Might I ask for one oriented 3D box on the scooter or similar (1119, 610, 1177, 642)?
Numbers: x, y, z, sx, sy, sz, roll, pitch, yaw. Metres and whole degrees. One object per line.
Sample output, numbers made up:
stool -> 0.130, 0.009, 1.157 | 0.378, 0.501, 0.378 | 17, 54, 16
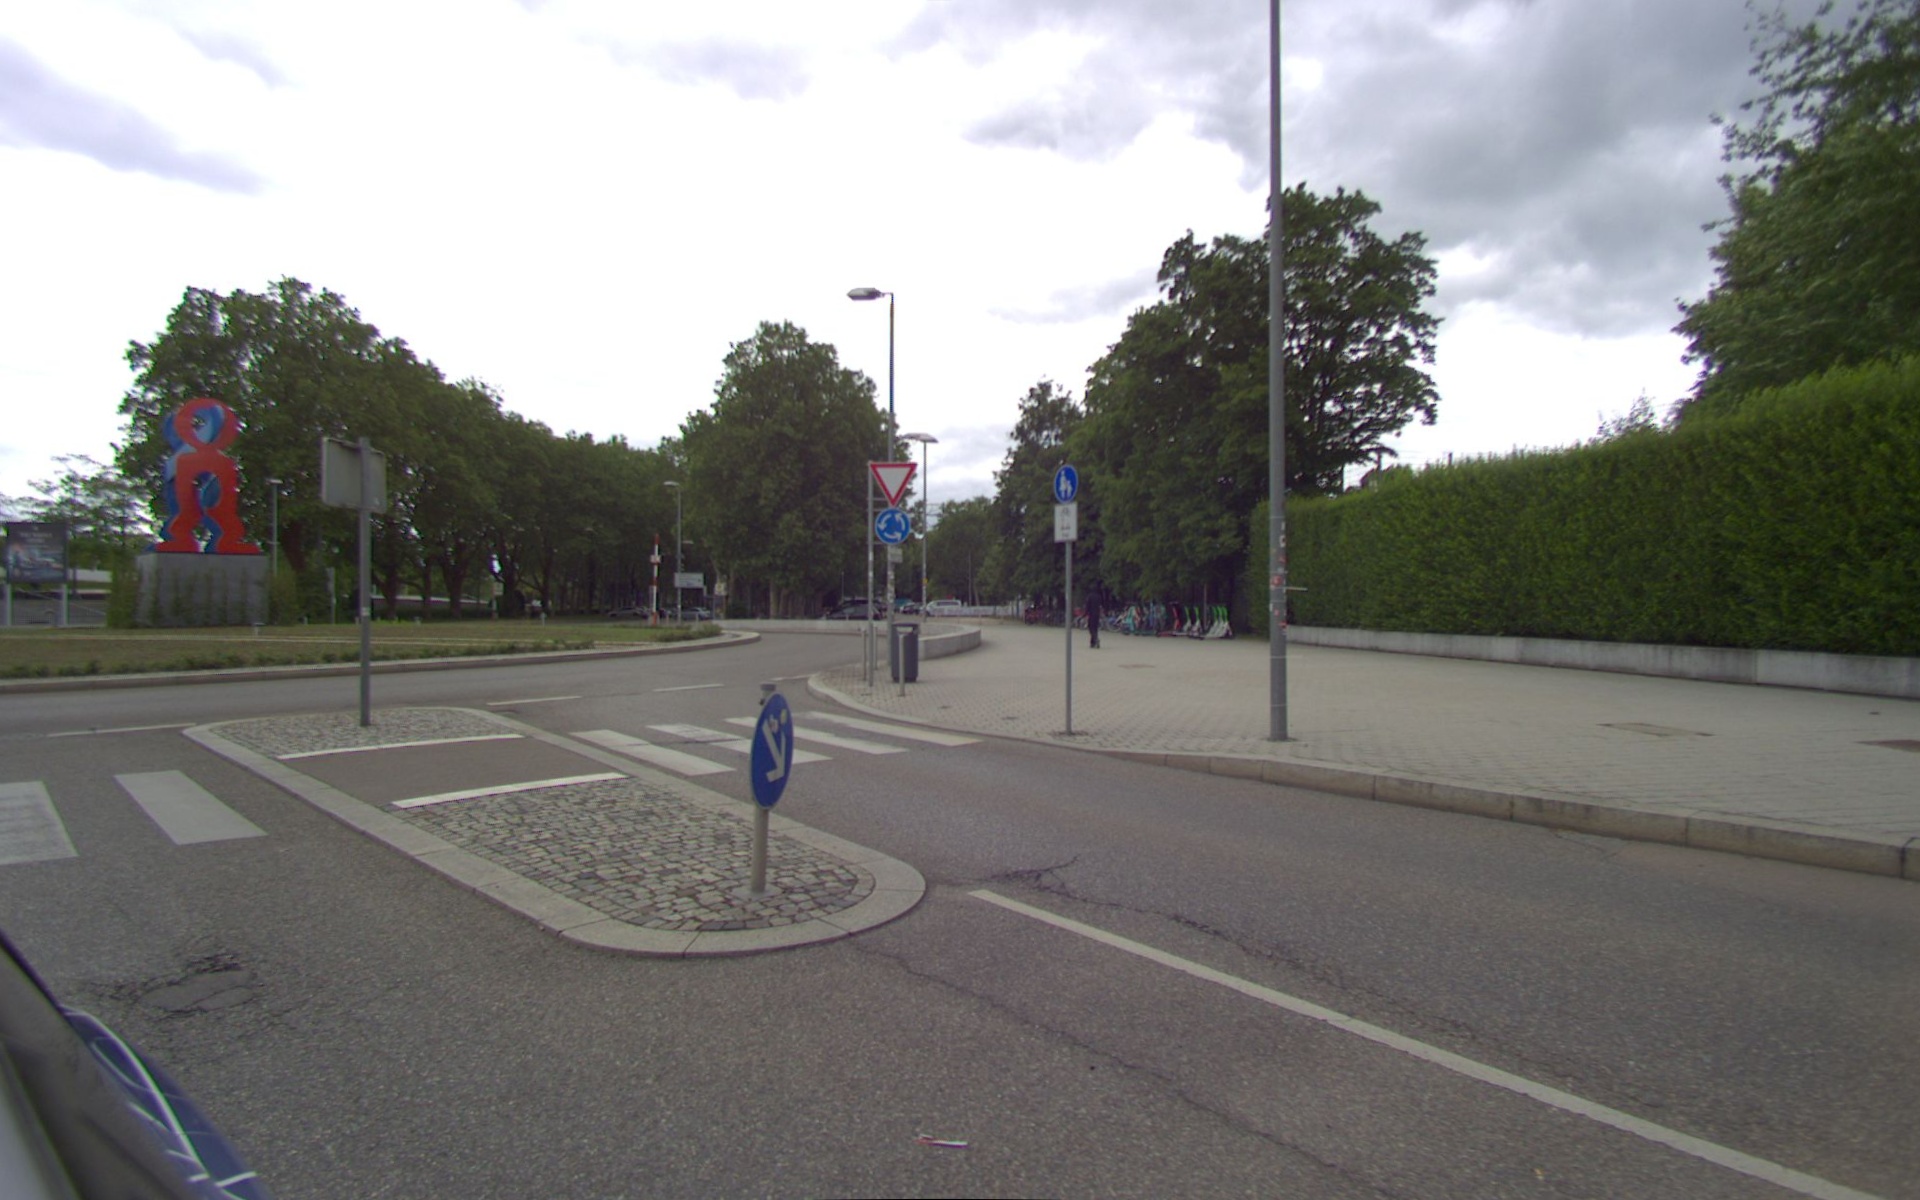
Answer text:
scooter or similar -> 6.833, 0.958, 36.812 | 1.944, 1.117, 0.641 | -1, -2, -9

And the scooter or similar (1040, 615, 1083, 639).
scooter or similar -> 4.971, 1.304, 49.594 | 1.944, 1.117, 0.641 | -1, -2, -9

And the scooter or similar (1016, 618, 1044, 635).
scooter or similar -> 4.730, 1.783, 68.014 | 1.781, 1.103, 0.546 | -1, -2, -9

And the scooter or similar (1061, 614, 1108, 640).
scooter or similar -> 5.521, 1.195, 44.987 | 1.944, 1.117, 0.641 | -1, -2, -9

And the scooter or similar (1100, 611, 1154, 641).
scooter or similar -> 6.472, 1.015, 39.240 | 1.944, 1.117, 0.641 | -1, -2, -9

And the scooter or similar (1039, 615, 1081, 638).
scooter or similar -> 5.027, 1.341, 50.929 | 1.944, 1.117, 0.641 | -1, -2, -9

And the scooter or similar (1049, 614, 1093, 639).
scooter or similar -> 5.213, 1.260, 47.589 | 1.944, 1.117, 0.641 | -1, -2, -9

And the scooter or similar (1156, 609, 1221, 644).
scooter or similar -> 7.493, 0.859, 33.149 | 1.944, 1.117, 0.641 | -1, -2, -9

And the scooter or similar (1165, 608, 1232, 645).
scooter or similar -> 7.621, 0.837, 32.313 | 1.944, 1.117, 0.641 | -1, -2, -9

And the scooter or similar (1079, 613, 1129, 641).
scooter or similar -> 6.003, 1.108, 42.131 | 1.944, 1.117, 0.641 | -1, -2, -9

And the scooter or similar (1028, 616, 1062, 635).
scooter or similar -> 5.148, 1.549, 61.128 | 1.944, 1.117, 0.641 | -1, -2, -9

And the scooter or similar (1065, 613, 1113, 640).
scooter or similar -> 5.656, 1.158, 44.278 | 1.944, 1.117, 0.641 | -1, -2, -9

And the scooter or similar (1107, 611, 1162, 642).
scooter or similar -> 6.618, 1.000, 38.378 | 1.944, 1.117, 0.641 | -1, -2, -9

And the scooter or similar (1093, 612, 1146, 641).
scooter or similar -> 6.315, 1.055, 40.084 | 1.944, 1.117, 0.641 | -1, -2, -9

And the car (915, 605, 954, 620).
car -> -3.092, 1.545, 121.794 | 4.366, 1.664, 1.800 | -1, -1, -9

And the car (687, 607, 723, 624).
car -> -28.821, 1.730, 114.413 | 3.655, 1.791, 1.672 | -1, -1, -5

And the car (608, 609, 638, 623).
car -> -41.854, 2.014, 125.744 | 3.395, 1.697, 1.691 | 0, 0, -8

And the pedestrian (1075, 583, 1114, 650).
pedestrian -> 3.779, 0.466, 28.383 | 0.789, 1.821, 0.857 | -2, -2, 28

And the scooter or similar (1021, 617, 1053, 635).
scooter or similar -> 4.918, 1.685, 64.720 | 1.944, 1.117, 0.641 | -1, -2, -9

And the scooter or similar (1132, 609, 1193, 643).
scooter or similar -> 7.088, 0.904, 35.420 | 1.944, 1.117, 0.641 | -1, -2, -9

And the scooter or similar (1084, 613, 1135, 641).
scooter or similar -> 6.120, 1.096, 41.429 | 1.944, 1.117, 0.641 | -1, -2, -9

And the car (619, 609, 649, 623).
car -> -41.959, 2.060, 130.357 | 3.404, 1.863, 1.687 | 0, 0, 2

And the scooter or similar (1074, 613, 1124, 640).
scooter or similar -> 5.881, 1.121, 42.834 | 1.944, 1.117, 0.641 | -1, -2, -9

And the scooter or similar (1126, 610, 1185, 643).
scooter or similar -> 6.963, 0.945, 36.112 | 1.944, 1.117, 0.641 | -1, -2, -9

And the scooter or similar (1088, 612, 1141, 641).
scooter or similar -> 6.221, 1.078, 40.756 | 1.944, 1.117, 0.641 | -1, -2, -9

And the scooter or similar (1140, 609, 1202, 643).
scooter or similar -> 7.208, 0.894, 34.664 | 1.944, 1.117, 0.641 | -1, -2, -9

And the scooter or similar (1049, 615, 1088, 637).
scooter or similar -> 5.776, 1.397, 54.022 | 1.944, 1.117, 0.641 | -1, -2, -9

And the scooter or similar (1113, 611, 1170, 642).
scooter or similar -> 6.738, 0.978, 37.577 | 1.944, 1.117, 0.641 | -1, -2, -9

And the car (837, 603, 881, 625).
car -> -8.658, 1.211, 86.845 | 3.655, 1.791, 1.672 | -1, -1, -5

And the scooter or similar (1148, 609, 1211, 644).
scooter or similar -> 7.359, 0.885, 33.942 | 1.944, 1.117, 0.641 | -1, -2, -9

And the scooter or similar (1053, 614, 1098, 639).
scooter or similar -> 5.335, 1.236, 46.705 | 1.944, 1.117, 0.641 | -1, -2, -9

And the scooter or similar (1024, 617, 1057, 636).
scooter or similar -> 4.974, 1.623, 62.630 | 1.944, 1.117, 0.641 | -1, -2, -9

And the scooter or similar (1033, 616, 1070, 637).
scooter or similar -> 5.063, 1.470, 56.181 | 1.944, 1.117, 0.641 | -1, -2, -9

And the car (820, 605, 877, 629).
car -> -7.555, 1.166, 68.434 | 3.765, 1.536, 1.782 | -1, -1, -8
